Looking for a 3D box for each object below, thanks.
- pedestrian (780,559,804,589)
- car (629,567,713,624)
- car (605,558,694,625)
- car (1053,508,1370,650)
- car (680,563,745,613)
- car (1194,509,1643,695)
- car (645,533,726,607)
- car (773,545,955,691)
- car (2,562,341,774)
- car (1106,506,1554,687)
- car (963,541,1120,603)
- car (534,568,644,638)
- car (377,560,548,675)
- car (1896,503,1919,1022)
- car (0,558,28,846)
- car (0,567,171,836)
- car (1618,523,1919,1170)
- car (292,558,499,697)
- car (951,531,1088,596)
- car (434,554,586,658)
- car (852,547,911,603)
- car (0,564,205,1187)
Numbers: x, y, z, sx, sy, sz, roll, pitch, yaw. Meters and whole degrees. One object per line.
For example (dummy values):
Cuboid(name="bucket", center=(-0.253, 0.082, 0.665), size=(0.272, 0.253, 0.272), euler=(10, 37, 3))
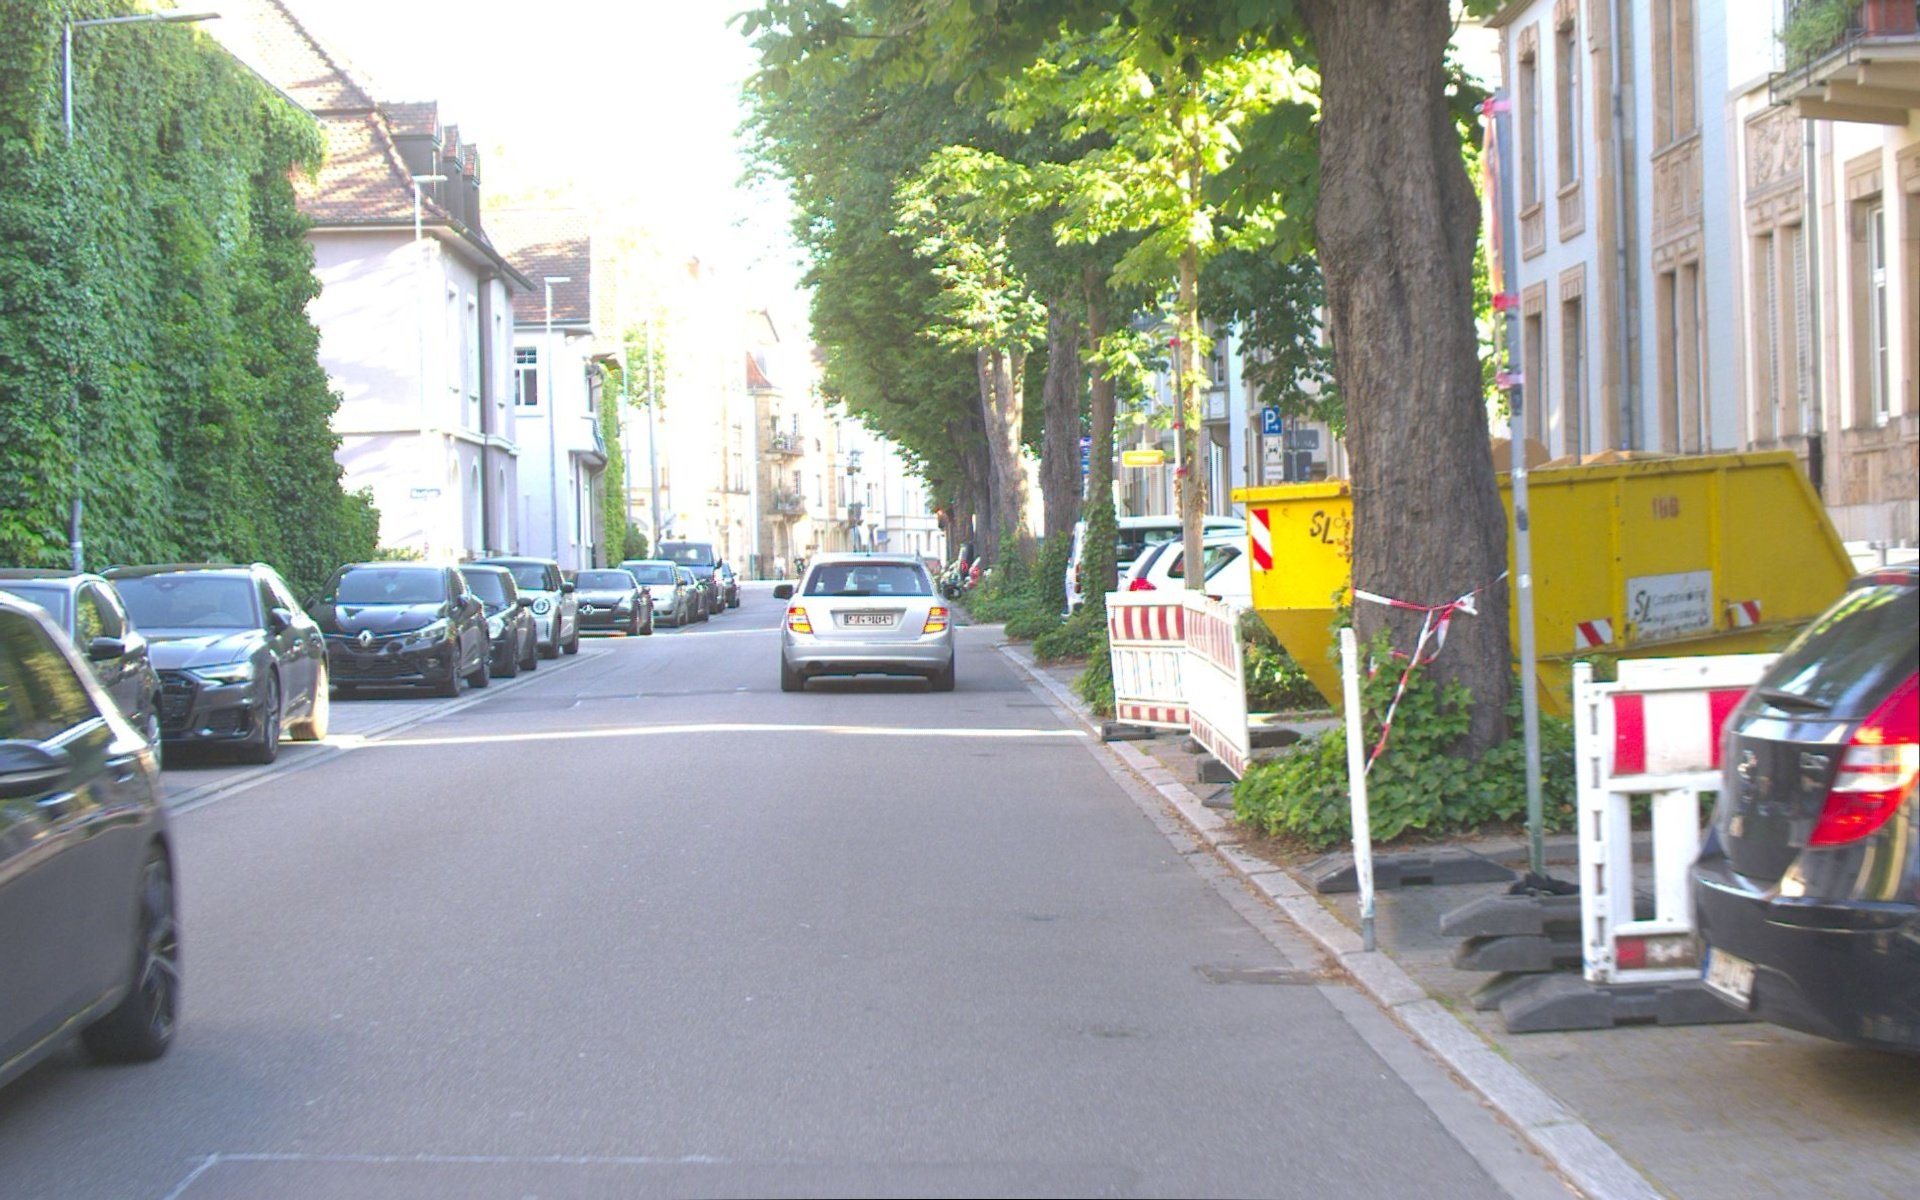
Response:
Cuboid(name="pedestrian", center=(-9.493, -1.463, 193.905), size=(1.221, 1.716, 1.503), euler=(0, 1, 2))
Cuboid(name="car", center=(-6.840, -0.113, 81.594), size=(1.531, 1.314, 4.226), euler=(0, 0, 1))
Cuboid(name="car", center=(-6.875, -0.216, 76.504), size=(1.653, 1.440, 3.960), euler=(0, 1, 0))
Cuboid(name="car", center=(3.592, -0.315, 49.722), size=(4.314, 1.801, 2.000), euler=(-3, 1, -1))
Cuboid(name="car", center=(-7.455, -0.375, 103.830), size=(1.695, 1.442, 4.358), euler=(0, 1, -1))
Cuboid(name="car", center=(4.080, 0.002, 31.065), size=(3.852, 1.457, 1.686), euler=(-3, 1, 4))
Cuboid(name="car", center=(-7.397, -0.822, 92.953), size=(1.982, 1.941, 4.852), euler=(0, 1, -2))
Cuboid(name="car", center=(-0.961, 0.174, 35.719), size=(1.784, 1.432, 3.851), euler=(0, 0, -1))
Cuboid(name="car", center=(-5.929, 0.447, 26.384), size=(1.792, 1.456, 4.778), euler=(0, 1, -4))
Cuboid(name="car", center=(3.551, -0.049, 33.537), size=(4.144, 1.529, 1.687), euler=(-3, 1, 1))
Cuboid(name="car", center=(2.235, -0.762, 94.248), size=(4.190, 1.470, 1.851), euler=(-3, 0, 1))
Cuboid(name="car", center=(-7.228, 0.039, 67.355), size=(1.653, 1.319, 4.045), euler=(0, 0, 1))
Cuboid(name="car", center=(-6.243, 0.186, 43.480), size=(1.686, 1.375, 3.721), euler=(0, 1, -1))
Cuboid(name="car", center=(4.409, 0.454, 6.463), size=(4.718, 1.530, 1.851), euler=(-3, 1, -1))
Cuboid(name="car", center=(-5.740, 0.546, 16.338), size=(1.653, 1.480, 3.764), euler=(0, 1, -1))
Cuboid(name="car", center=(-5.891, 0.536, 20.621), size=(1.653, 1.442, 3.845), euler=(0, 1, -3))
Cuboid(name="car", center=(3.913, 0.479, 8.948), size=(3.987, 1.487, 1.851), euler=(-3, 1, 1))
Cuboid(name="car", center=(-6.099, 0.258, 37.501), size=(1.649, 1.416, 4.099), euler=(0, 1, -1))
Cuboid(name="car", center=(1.890, -1.173, 110.808), size=(4.219, 1.890, 1.906), euler=(-3, 1, -3))
Cuboid(name="car", center=(-6.519, 0.056, 50.160), size=(1.704, 1.455, 3.917), euler=(0, 1, 0))
Cuboid(name="car", center=(-2.269, -0.743, 99.571), size=(1.623, 1.564, 3.680), euler=(-1, 1, 0))
Cuboid(name="car", center=(-3.182, 0.679, 8.576), size=(1.772, 1.443, 4.000), euler=(-2, 1, -1))
